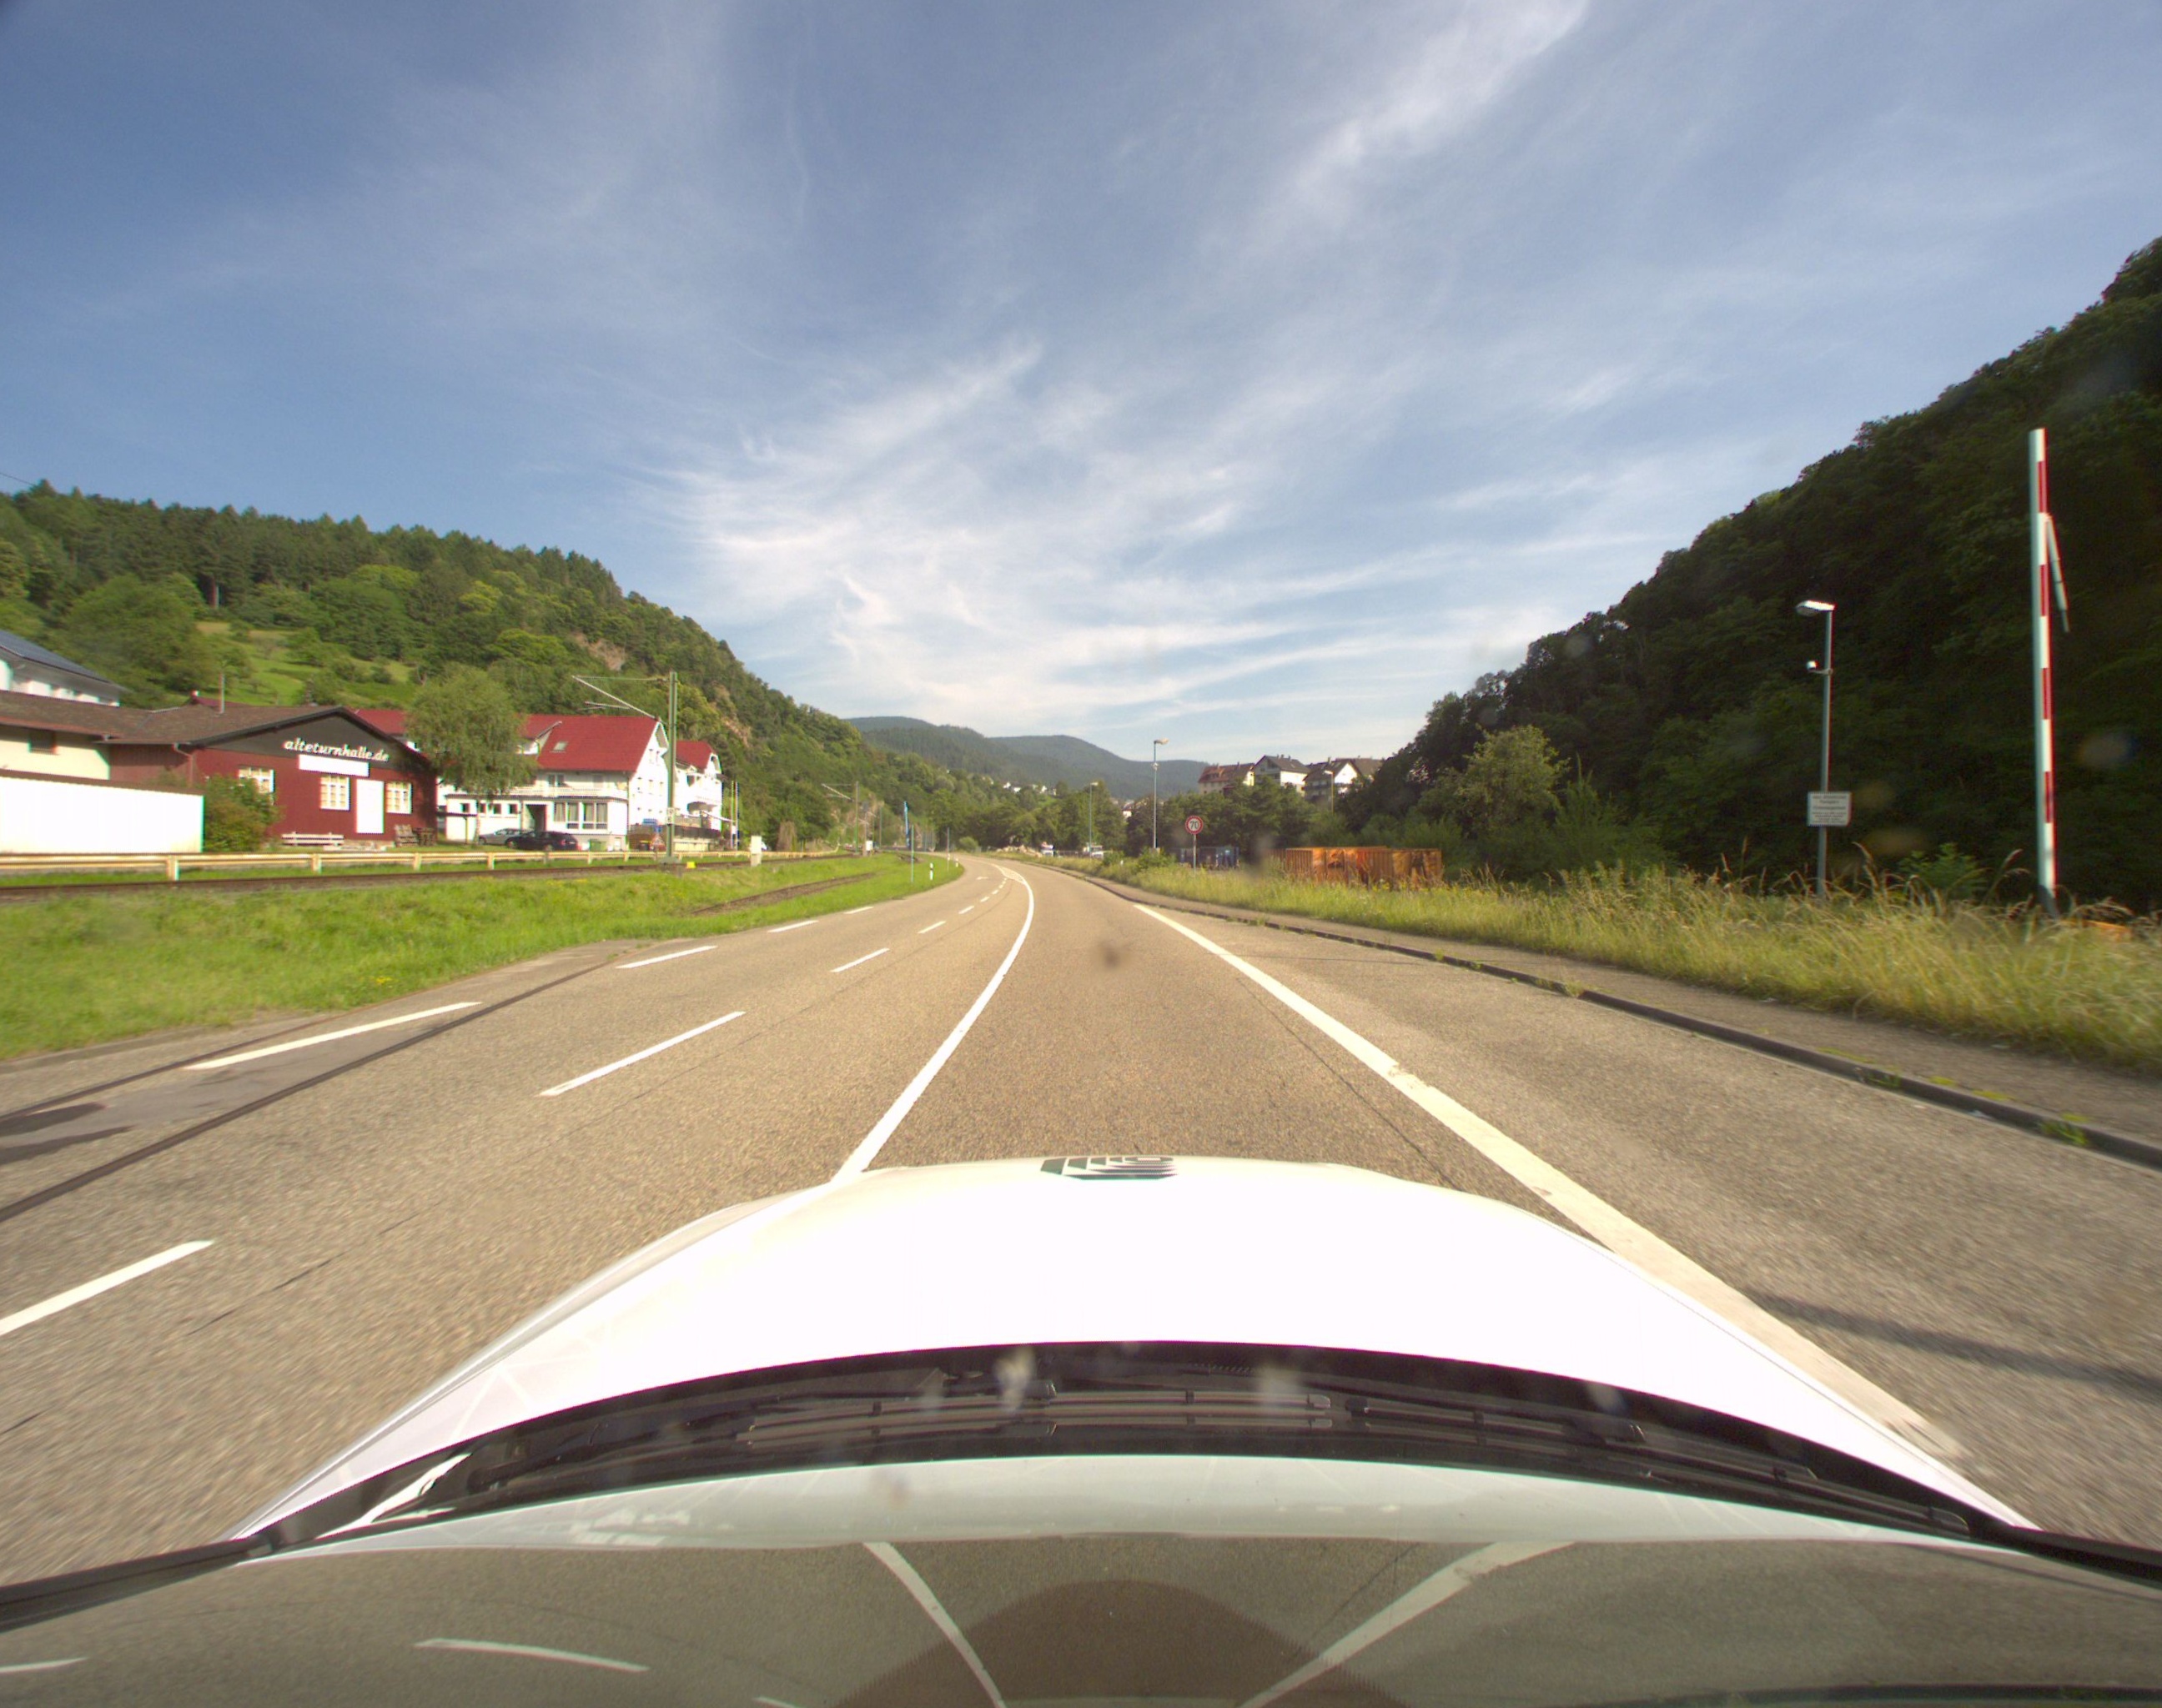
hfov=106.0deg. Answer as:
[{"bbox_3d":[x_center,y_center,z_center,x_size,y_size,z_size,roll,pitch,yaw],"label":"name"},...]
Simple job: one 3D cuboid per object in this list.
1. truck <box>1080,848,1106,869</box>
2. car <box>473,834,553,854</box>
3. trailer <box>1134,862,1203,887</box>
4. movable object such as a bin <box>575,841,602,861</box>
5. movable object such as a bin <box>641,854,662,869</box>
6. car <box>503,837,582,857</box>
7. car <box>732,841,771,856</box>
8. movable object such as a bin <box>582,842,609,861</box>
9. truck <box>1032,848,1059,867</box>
[{"bbox_3d":[2.261,0.896,155.838,3.106,3.782,8.607,1,0,-13],"label":"truck"},{"bbox_3d":[-40.182,-0.707,57.667,4.249,1.329,1.750,1,0,-7],"label":"car"},{"bbox_3d":[6.045,1.382,58.257,2.789,1.474,9.864,3,0,-6],"label":"trailer"},{"bbox_3d":[-30.929,-0.194,51.126,1.141,1.192,1.088,1,-1,-13],"label":"movable object such as a bin"},{"bbox_3d":[-33.447,0.585,63.486,1.089,1.192,1.140,1,-1,-8],"label":"movable object such as a bin"},{"bbox_3d":[-36.488,-0.456,55.236,4.089,1.270,1.733,1,0,-6],"label":"car"},{"bbox_3d":[-41.060,-0.663,101.556,4.143,1.691,1.994,1,-1,-9],"label":"car"},{"bbox_3d":[-31.185,-0.147,52.326,1.141,1.192,1.088,1,-1,-13],"label":"movable object such as a bin"},{"bbox_3d":[-7.557,0.715,172.225,3.115,3.782,8.583,2,0,-21],"label":"truck"}]
